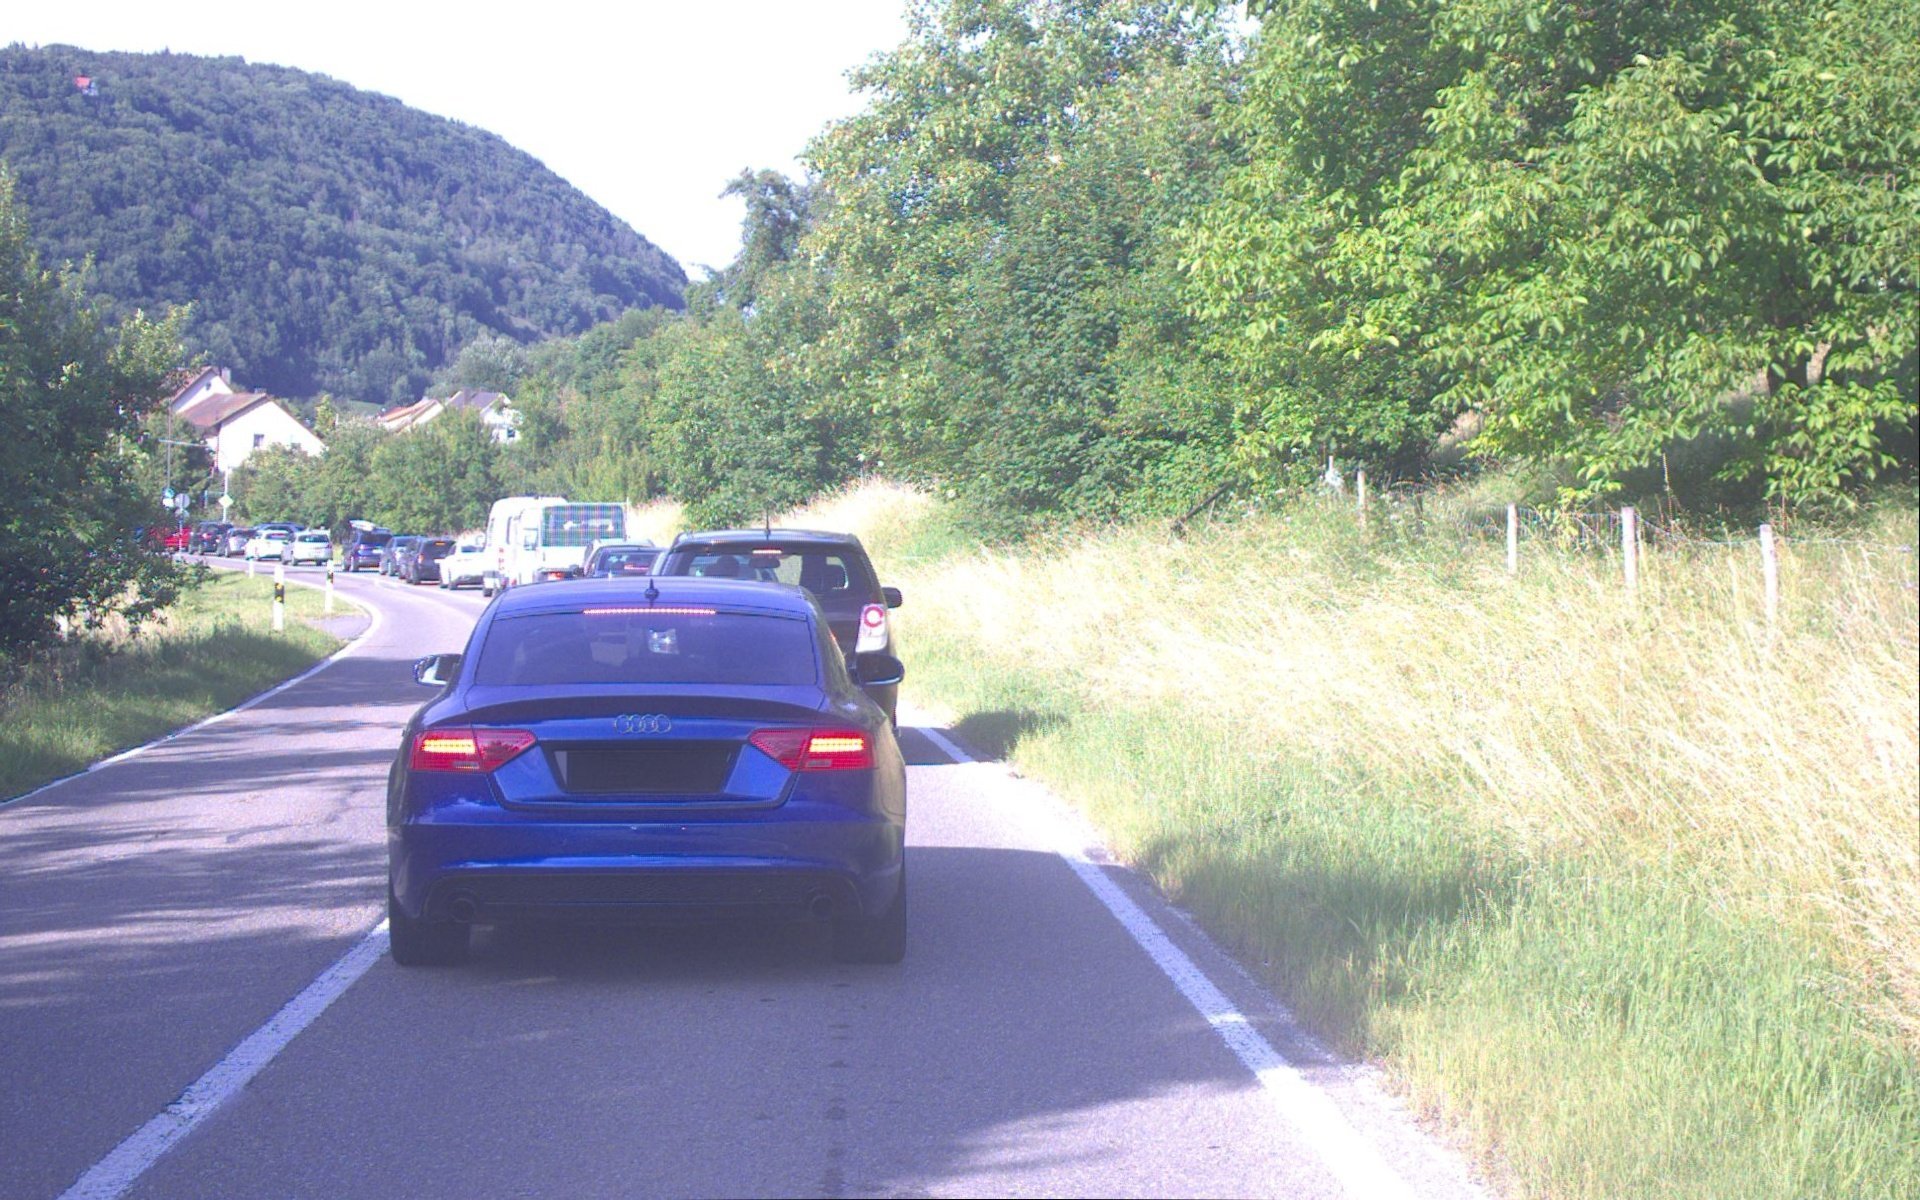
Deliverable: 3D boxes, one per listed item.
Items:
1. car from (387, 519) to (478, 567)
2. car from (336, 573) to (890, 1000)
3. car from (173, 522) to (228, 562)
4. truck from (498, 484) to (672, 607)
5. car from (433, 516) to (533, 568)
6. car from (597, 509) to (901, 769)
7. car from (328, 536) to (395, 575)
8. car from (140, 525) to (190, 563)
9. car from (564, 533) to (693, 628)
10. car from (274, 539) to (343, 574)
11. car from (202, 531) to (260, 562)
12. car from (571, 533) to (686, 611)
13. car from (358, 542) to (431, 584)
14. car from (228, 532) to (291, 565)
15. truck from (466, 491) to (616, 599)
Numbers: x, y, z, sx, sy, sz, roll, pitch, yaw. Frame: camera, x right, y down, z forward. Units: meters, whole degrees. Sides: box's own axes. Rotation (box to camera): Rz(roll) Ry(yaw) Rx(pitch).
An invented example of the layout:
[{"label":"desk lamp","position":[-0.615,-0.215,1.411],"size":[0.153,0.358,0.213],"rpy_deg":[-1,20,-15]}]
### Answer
[{"label":"car","position":[-16.789,-1.810,109.325],"size":[1.993,1.477,4.001],"rpy_deg":[0,1,-22]},{"label":"car","position":[-1.169,0.592,13.208],"size":[1.793,1.355,4.000],"rpy_deg":[0,1,-1]},{"label":"car","position":[-38.618,-2.927,174.696],"size":[1.993,2.007,4.001],"rpy_deg":[0,1,-23]},{"label":"truck","position":[-8.857,-1.273,80.083],"size":[2.863,2.656,10.396],"rpy_deg":[0,1,-13]},{"label":"car","position":[-14.136,-1.710,101.823],"size":[1.993,1.477,4.001],"rpy_deg":[0,1,-22]},{"label":"car","position":[-1.462,0.240,24.707],"size":[1.993,1.696,4.000],"rpy_deg":[1,0,-2]},{"label":"car","position":[-23.059,-1.706,132.380],"size":[1.993,1.477,4.001],"rpy_deg":[0,1,-18]},{"label":"car","position":[-43.145,-3.042,186.529],"size":[1.993,2.007,4.001],"rpy_deg":[0,1,-23]},{"label":"car","position":[-5.418,-0.323,55.835],"size":[1.993,1.477,4.001],"rpy_deg":[1,1,-7]},{"label":"car","position":[-28.043,-1.875,147.904],"size":[1.993,1.477,4.001],"rpy_deg":[0,1,-24]},{"label":"car","position":[-35.646,-2.608,168.058],"size":[1.993,1.477,4.001],"rpy_deg":[0,1,-24]},{"label":"car","position":[-6.555,-0.556,67.579],"size":[1.993,1.477,4.001],"rpy_deg":[1,1,-9]},{"label":"car","position":[-20.507,-1.345,124.637],"size":[1.993,1.477,4.001],"rpy_deg":[0,1,-18]},{"label":"car","position":[-32.221,-2.382,158.007],"size":[1.993,1.477,4.001],"rpy_deg":[0,1,-24]},{"label":"truck","position":[-11.222,-1.459,91.157],"size":[2.863,2.656,10.648],"rpy_deg":[0,1,-13]}]
